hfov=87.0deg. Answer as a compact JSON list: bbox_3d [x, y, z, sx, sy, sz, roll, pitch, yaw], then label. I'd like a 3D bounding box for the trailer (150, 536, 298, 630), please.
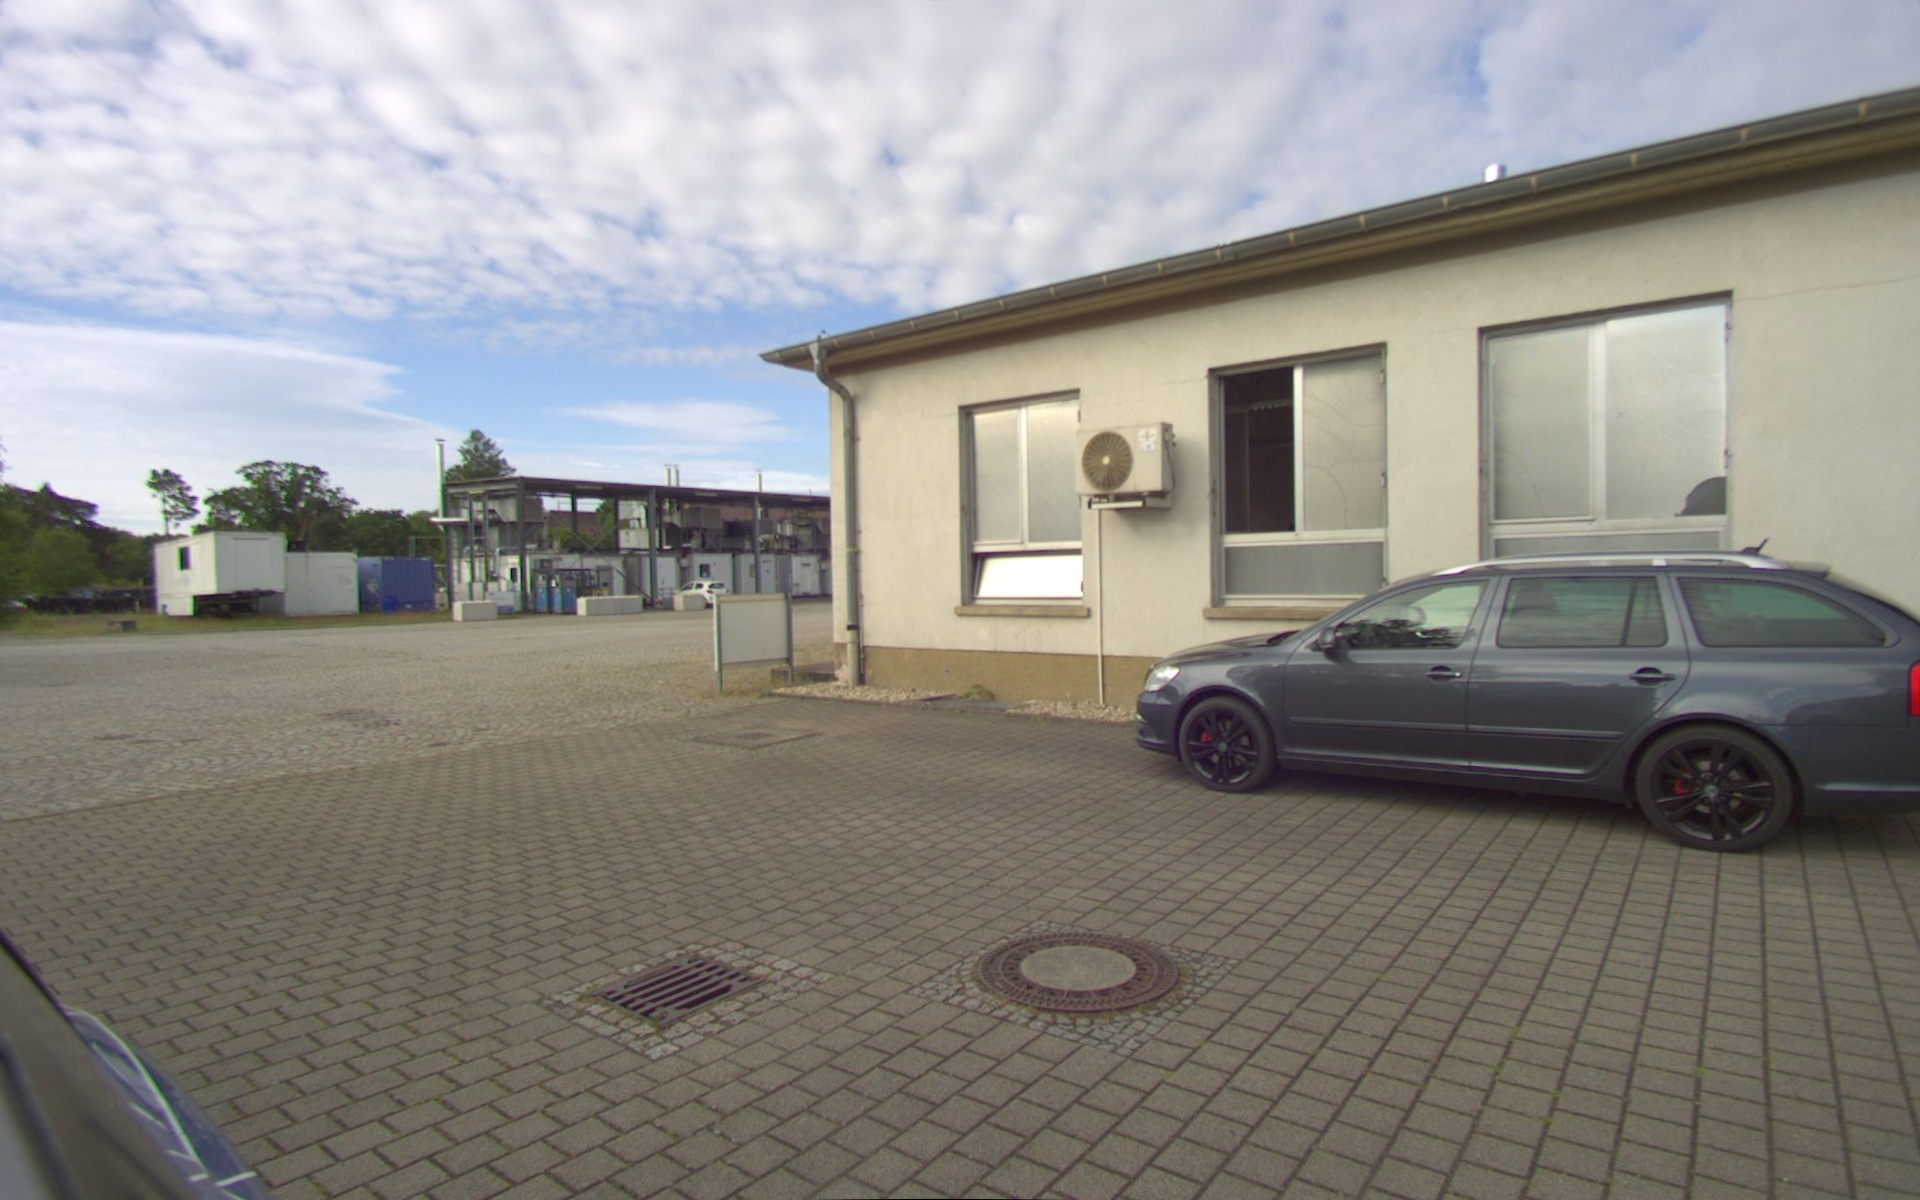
[{"bbox_3d":[-32.589,-0.662,44.559,10.771,3.689,2.839,-1,1,41],"label":"trailer"}]

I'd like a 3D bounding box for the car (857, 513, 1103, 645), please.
[{"bbox_3d":[0.315,-0.383,22.454,5.395,2.602,1.973,-2,0,42],"label":"car"}]

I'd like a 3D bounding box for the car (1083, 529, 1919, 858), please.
[{"bbox_3d":[3.345,0.408,6.339,4.803,1.450,1.907,-1,1,38],"label":"car"}]

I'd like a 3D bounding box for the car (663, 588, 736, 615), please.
[{"bbox_3d":[-14.749,0.082,57.210,3.992,1.484,1.911,0,0,36],"label":"car"}]
